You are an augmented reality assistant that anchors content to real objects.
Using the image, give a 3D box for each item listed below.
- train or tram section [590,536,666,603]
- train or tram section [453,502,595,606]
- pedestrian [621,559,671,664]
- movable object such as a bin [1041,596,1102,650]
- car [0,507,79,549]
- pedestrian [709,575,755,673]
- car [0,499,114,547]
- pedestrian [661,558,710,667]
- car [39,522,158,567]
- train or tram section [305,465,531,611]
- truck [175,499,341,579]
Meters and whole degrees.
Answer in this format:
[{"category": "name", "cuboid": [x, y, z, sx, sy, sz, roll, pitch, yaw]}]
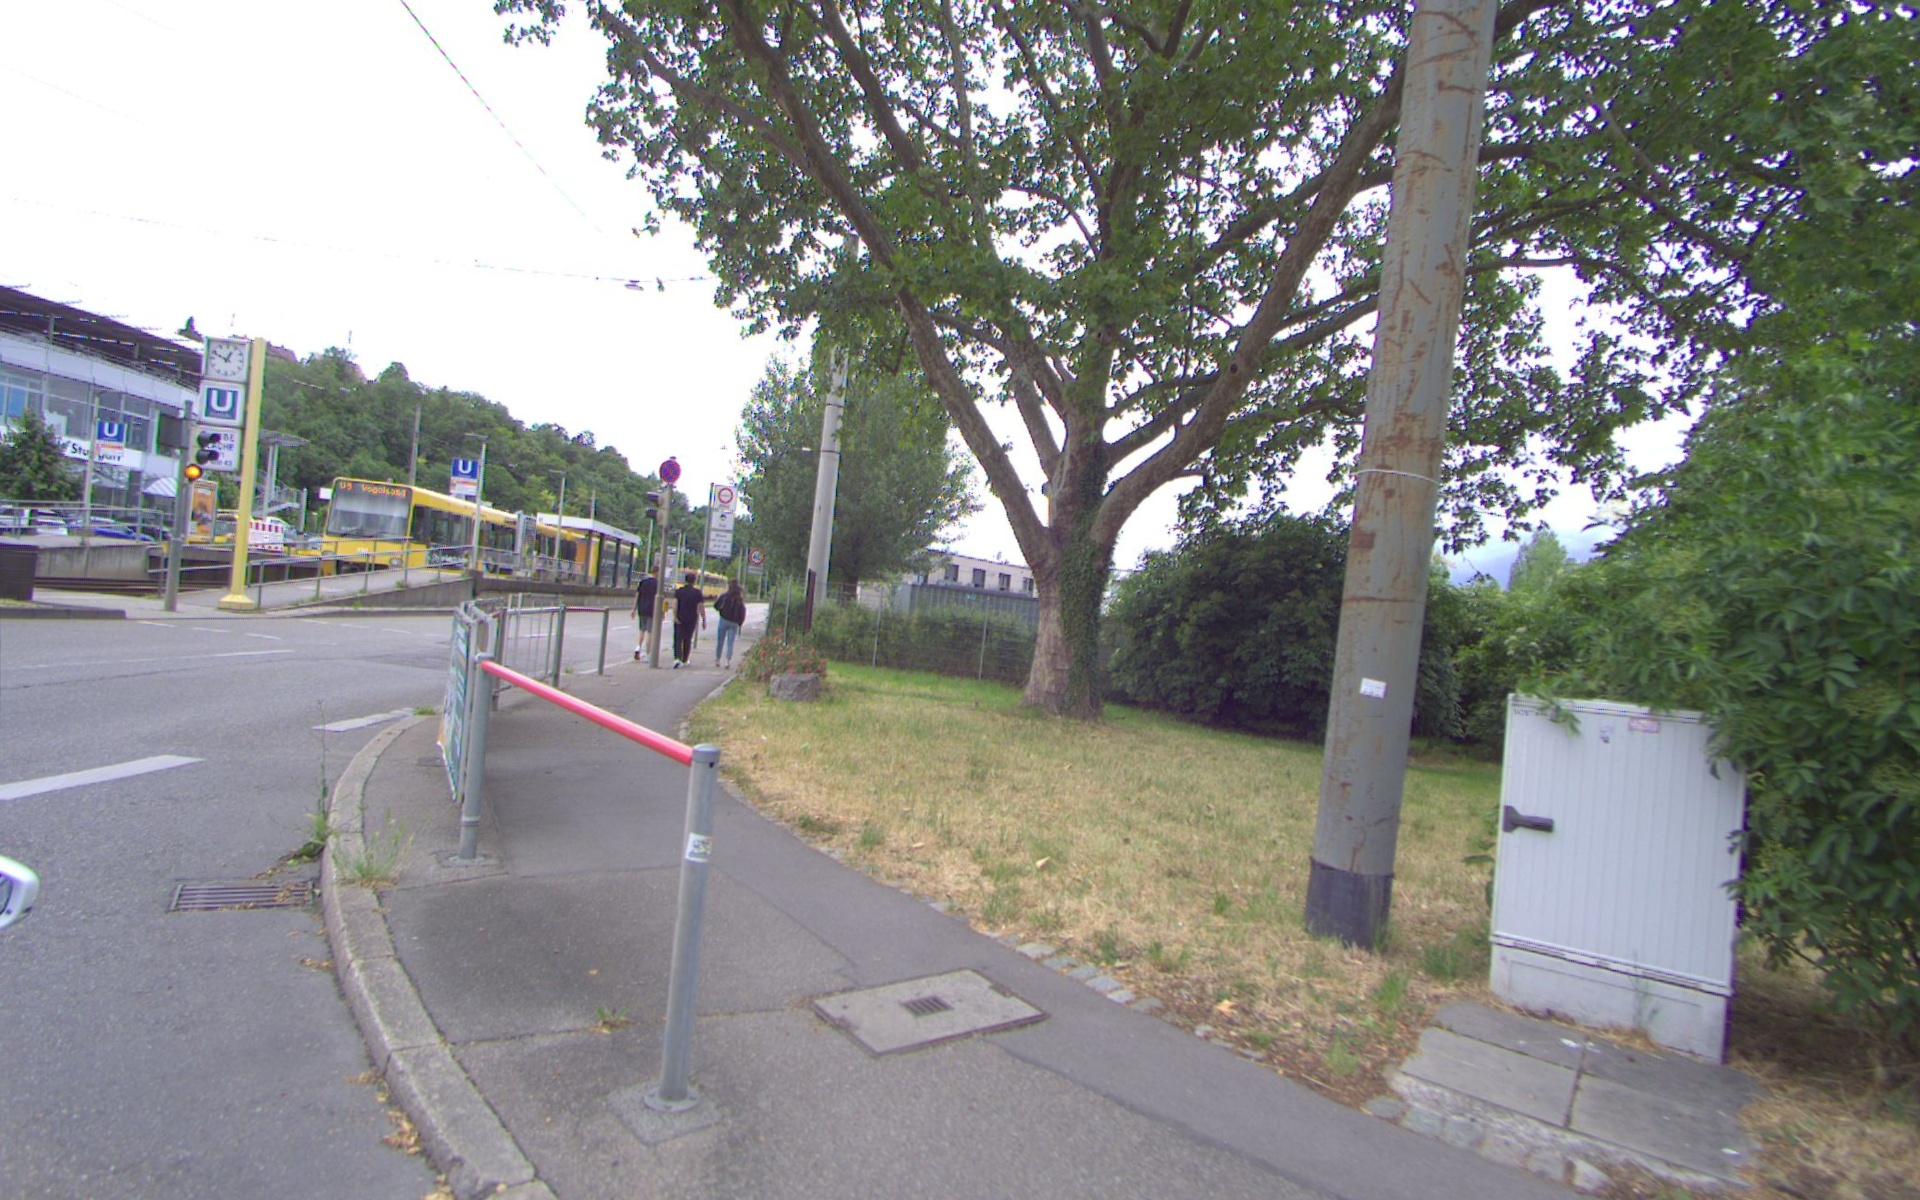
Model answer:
[{"category": "train or tram section", "cuboid": [-23.350, -2.026, 71.268, 2.929, 4.116, 10.181, 6, 0, -8]}, {"category": "train or tram section", "cuboid": [-20.174, -1.927, 47.542, 2.702, 4.016, 11.895, 6, 0, -8]}, {"category": "pedestrian", "cuboid": [-5.903, 0.238, 18.960, 0.594, 1.887, 0.672, 6, -3, -7]}, {"category": "movable object such as a bin", "cuboid": [5.262, 1.111, 46.883, 1.962, 2.035, 4.303, 4, -5, 17]}, {"category": "car", "cuboid": [-42.107, -3.291, 44.746, 3.927, 1.573, 1.926, 6, 0, -4]}, {"category": "pedestrian", "cuboid": [-4.168, 0.458, 18.430, 0.594, 1.708, 0.672, 6, -3, -7]}, {"category": "car", "cuboid": [-42.701, -3.624, 47.329, 3.927, 1.570, 1.930, 6, -4, -4]}, {"category": "pedestrian", "cuboid": [-4.962, 0.233, 18.218, 0.594, 1.890, 0.671, 6, -1, -7]}, {"category": "car", "cuboid": [-42.243, -2.705, 49.390, 3.927, 1.570, 1.930, 6, -4, -4]}, {"category": "train or tram section", "cuboid": [-18.562, -1.882, 35.710, 2.702, 4.016, 11.895, 6, 0, -8]}, {"category": "truck", "cuboid": [-35.352, -2.922, 51.205, 2.655, 3.115, 9.001, 6, -1, -6]}]
